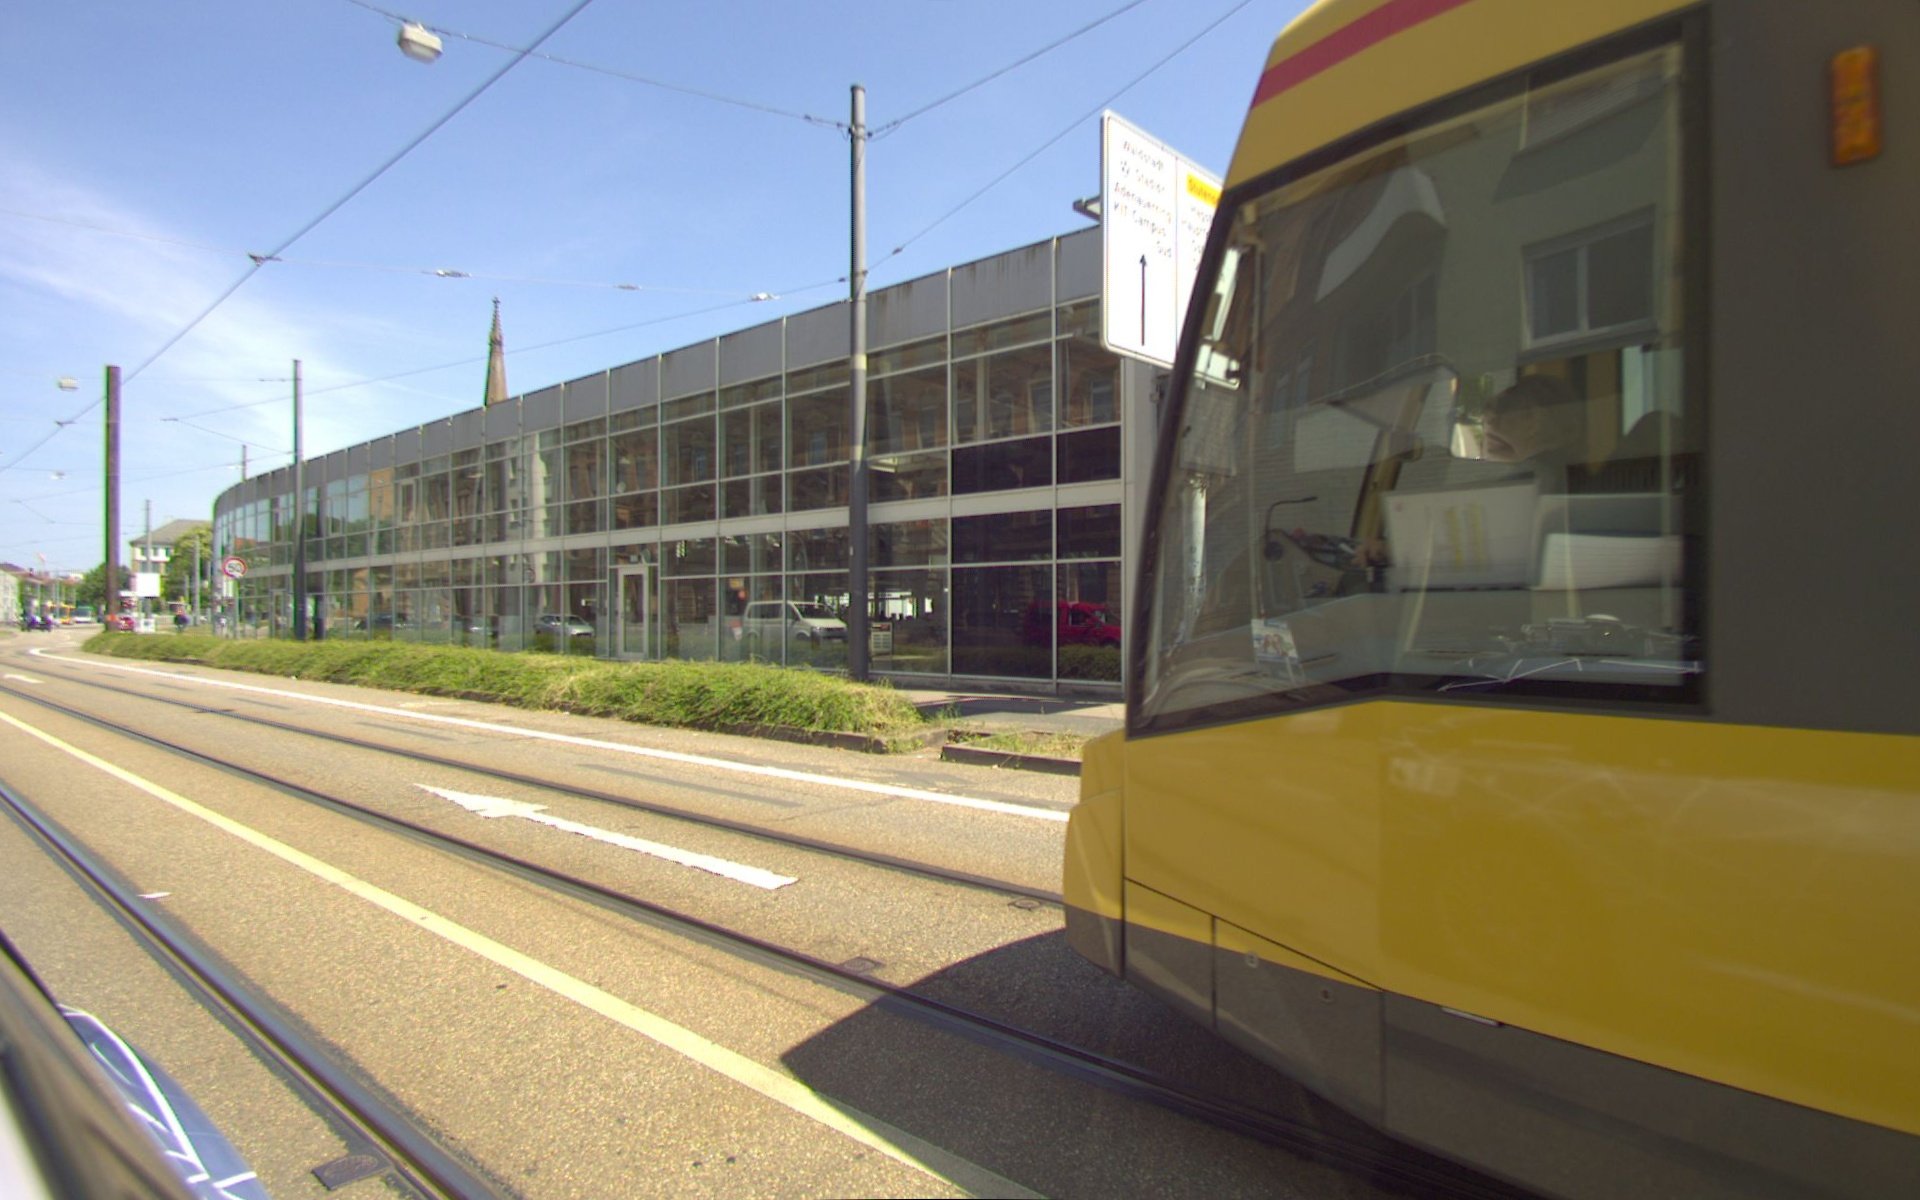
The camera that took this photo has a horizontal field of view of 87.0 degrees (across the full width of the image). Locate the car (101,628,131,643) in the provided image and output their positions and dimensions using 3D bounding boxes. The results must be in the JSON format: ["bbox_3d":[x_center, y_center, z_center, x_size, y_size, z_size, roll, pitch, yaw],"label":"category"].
[{"bbox_3d":[-84.218,3.556,100.997,4.288,1.377,1.739,-1,-1,42],"label":"car"}]

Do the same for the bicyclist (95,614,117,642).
[{"bbox_3d":[-48.943,1.612,58.028,0.688,1.560,0.983,0,-1,-23],"label":"bicyclist"}]

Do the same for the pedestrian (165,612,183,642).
[{"bbox_3d":[-44.932,1.541,57.868,0.820,1.654,0.719,-1,-1,44],"label":"pedestrian"}]

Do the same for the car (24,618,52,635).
[{"bbox_3d":[-93.696,2.682,102.803,4.526,1.639,1.801,-1,-2,44],"label":"car"}]
